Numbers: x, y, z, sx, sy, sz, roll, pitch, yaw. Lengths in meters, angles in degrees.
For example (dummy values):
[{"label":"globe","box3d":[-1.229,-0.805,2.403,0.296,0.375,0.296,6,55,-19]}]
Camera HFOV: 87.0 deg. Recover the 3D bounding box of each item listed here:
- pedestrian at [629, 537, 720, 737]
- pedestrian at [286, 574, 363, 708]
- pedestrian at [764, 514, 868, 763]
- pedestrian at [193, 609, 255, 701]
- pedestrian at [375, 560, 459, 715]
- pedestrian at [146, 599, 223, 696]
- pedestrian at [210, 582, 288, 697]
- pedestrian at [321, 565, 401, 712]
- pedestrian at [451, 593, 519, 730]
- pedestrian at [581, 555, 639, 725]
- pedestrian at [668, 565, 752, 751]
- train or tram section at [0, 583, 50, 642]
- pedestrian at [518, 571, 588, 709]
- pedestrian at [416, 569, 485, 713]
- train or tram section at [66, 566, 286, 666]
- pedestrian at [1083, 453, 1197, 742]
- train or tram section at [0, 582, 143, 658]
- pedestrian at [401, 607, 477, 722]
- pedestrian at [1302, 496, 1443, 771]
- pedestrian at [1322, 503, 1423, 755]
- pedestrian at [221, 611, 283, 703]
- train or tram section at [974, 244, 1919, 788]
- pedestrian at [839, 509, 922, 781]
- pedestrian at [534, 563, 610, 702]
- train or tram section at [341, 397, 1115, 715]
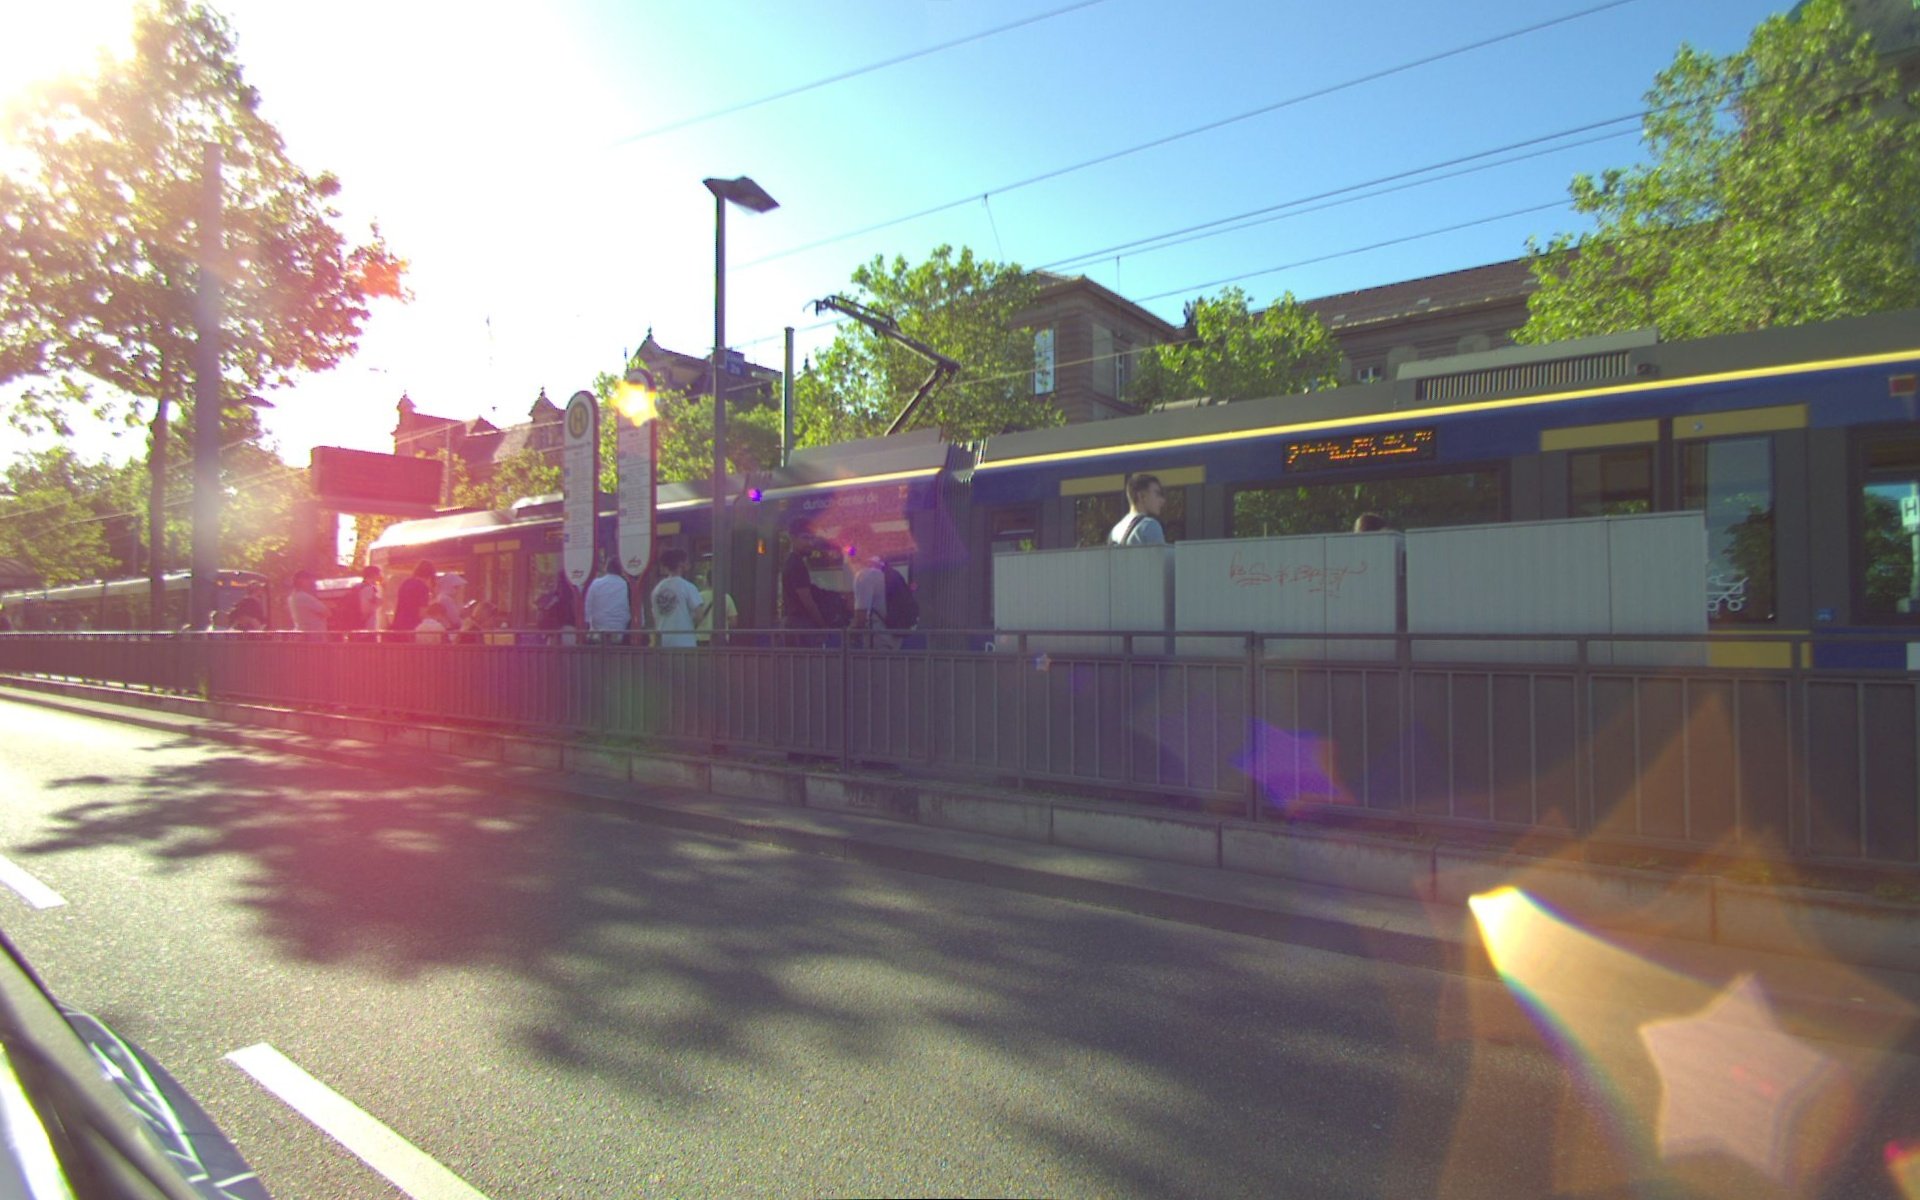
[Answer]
[{"label":"pedestrian","box3d":[-2.559,0.331,9.089,0.610,1.715,0.501,-2,-3,34]},{"label":"pedestrian","box3d":[-8.103,0.520,12.907,0.570,1.646,0.654,-2,-3,38]},{"label":"pedestrian","box3d":[-1.057,0.282,7.478,0.538,1.747,0.543,-2,-3,33]},{"label":"pedestrian","box3d":[-10.798,0.796,14.851,0.603,1.309,0.529,-2,-3,34]},{"label":"pedestrian","box3d":[-6.225,0.430,11.606,0.570,1.709,0.654,-2,-3,38]},{"label":"pedestrian","box3d":[-12.669,0.773,16.545,0.750,1.521,0.769,-2,-3,34]},{"label":"pedestrian","box3d":[-11.251,0.626,16.017,0.721,1.766,0.769,-2,-3,34]},{"label":"pedestrian","box3d":[-7.248,0.463,12.252,0.570,1.709,0.654,-2,-3,38]},{"label":"pedestrian","box3d":[-4.752,0.604,10.127,0.506,1.326,0.412,-2,-3,36]},{"label":"pedestrian","box3d":[-3.674,0.420,10.605,0.498,1.715,0.613,1,-3,-25]},{"label":"pedestrian","box3d":[-2.501,0.567,10.133,0.610,1.783,0.548,-2,-3,34]},{"label":"train or tram section","box3d":[-47.965,0.749,49.424,15.652,2.584,2.538,-2,-2,38]},{"label":"pedestrian","box3d":[-4.676,0.459,11.631,0.530,1.530,0.540,-2,-3,37]},{"label":"pedestrian","box3d":[-6.285,0.502,12.485,0.620,1.721,0.510,-2,-3,37]},{"label":"train or tram section","box3d":[-32.904,0.784,41.835,18.188,3.460,2.822,-2,-1,38]},{"label":"pedestrian","box3d":[1.154,-0.006,6.484,0.538,1.747,0.543,-2,-3,33]},{"label":"train or tram section","box3d":[-47.305,1.149,53.149,18.249,3.460,2.843,-2,-1,38]},{"label":"pedestrian","box3d":[-5.663,0.689,11.009,0.530,1.201,0.540,-2,-3,37]},{"label":"pedestrian","box3d":[2.767,0.223,6.792,0.745,1.715,0.627,-2,-3,34]},{"label":"pedestrian","box3d":[2.973,0.206,7.290,0.544,1.715,0.603,-2,-3,33]},{"label":"pedestrian","box3d":[-9.989,0.800,14.280,0.603,1.256,0.529,-2,-3,36]},{"label":"train or tram section","box3d":[6.203,-0.517,7.624,13.093,3.285,2.887,0,0,38]},{"label":"pedestrian","box3d":[-0.528,0.296,6.796,0.532,1.747,0.550,0,-2,-3]},{"label":"pedestrian","box3d":[-4.803,0.398,12.540,0.621,1.662,0.613,-2,-3,34]},{"label":"train or tram section","box3d":[-5.194,-0.419,16.476,15.869,3.285,2.887,0,0,38]}]
